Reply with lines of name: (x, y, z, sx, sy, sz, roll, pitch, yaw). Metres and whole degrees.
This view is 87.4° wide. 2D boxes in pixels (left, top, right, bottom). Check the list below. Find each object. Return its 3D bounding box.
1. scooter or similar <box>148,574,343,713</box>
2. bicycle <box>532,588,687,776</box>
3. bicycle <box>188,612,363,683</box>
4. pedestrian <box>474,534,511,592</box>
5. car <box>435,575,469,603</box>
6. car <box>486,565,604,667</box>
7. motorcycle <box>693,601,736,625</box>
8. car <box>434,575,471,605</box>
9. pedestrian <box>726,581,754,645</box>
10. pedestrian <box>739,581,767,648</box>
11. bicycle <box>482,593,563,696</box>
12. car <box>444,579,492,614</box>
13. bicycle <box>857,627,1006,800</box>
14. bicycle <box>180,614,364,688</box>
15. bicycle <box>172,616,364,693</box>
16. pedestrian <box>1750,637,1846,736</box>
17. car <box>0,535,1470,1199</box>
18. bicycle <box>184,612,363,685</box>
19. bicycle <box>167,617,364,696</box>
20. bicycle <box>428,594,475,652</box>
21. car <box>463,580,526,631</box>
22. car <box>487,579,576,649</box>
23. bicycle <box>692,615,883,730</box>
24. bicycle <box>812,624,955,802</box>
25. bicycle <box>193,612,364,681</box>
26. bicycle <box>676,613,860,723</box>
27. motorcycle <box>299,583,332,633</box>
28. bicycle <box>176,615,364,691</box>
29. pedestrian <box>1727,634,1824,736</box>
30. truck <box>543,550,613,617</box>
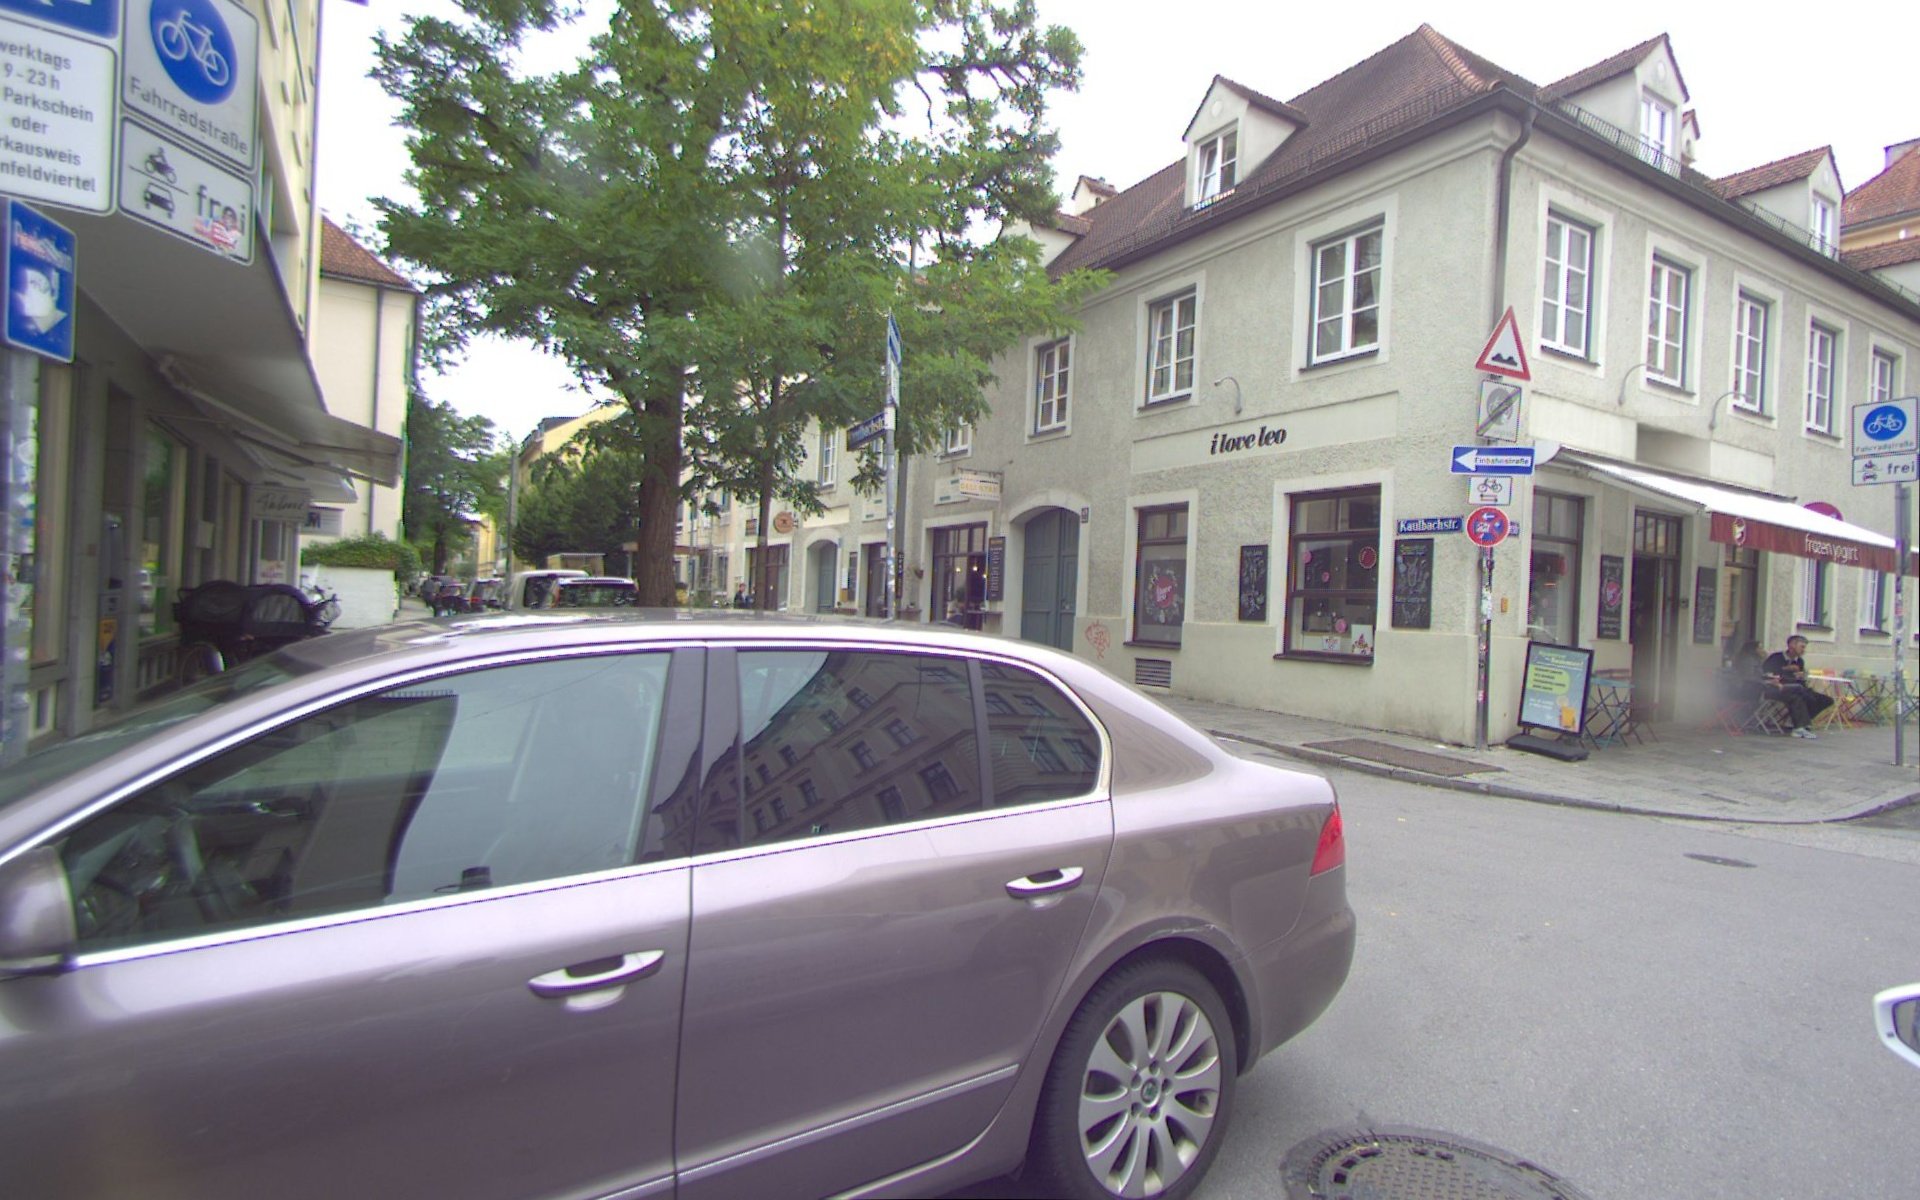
scooter or similar: (-6.959, 0.408, 9.820, 1.180, 1.217, 1.000, 3, -1, 20)
bicycle: (-3.009, 0.573, 8.383, 0.807, 1.227, 2.832, 4, 1, -26)
bicycle: (-8.258, 0.585, 12.197, 1.704, 0.790, 0.290, 4, -1, -32)
pedestrian: (-13.378, -1.050, 28.756, 0.563, 1.602, 0.681, 3, -1, 22)
car: (-31.192, -0.694, 61.664, 1.752, 1.617, 4.138, -1, 1, -27)
car: (-8.696, 0.253, 20.837, 1.882, 1.870, 4.430, -1, 1, -27)
motorcycle: (-9.960, 0.544, 40.848, 1.619, 0.885, 0.410, 4, -1, -32)
car: (-28.257, -0.579, 55.913, 1.752, 1.617, 4.138, -1, 1, -27)
pedestrian: (-6.138, 0.352, 28.062, 0.525, 1.752, 0.552, 4, -1, -32)
pedestrian: (-5.668, 0.394, 27.449, 0.525, 1.810, 0.487, 4, -1, -32)
bicycle: (-5.851, 0.566, 13.364, 0.807, 1.227, 2.358, 4, -2, -26)
car: (-23.935, -0.210, 48.824, 1.971, 1.617, 4.138, -1, 1, -27)
bicycle: (-0.274, 0.793, 7.695, 0.387, 1.049, 1.811, 1, 2, -26)
bicycle: (-7.952, 0.601, 11.684, 1.704, 0.790, 0.290, 4, -1, -32)
bicycle: (-7.636, 0.622, 11.169, 1.704, 0.790, 0.290, 4, -1, -32)
pedestrian: (11.703, 1.195, 14.037, 0.685, 1.307, 0.799, 4, -1, -29)
car: (-0.966, 0.695, 2.409, 4.897, 1.491, 1.669, 2, -1, -33)
bicycle: (-8.109, 0.589, 11.943, 1.704, 0.790, 0.290, 4, -1, -32)
bicycle: (-7.488, 0.630, 10.912, 1.704, 0.790, 0.290, 4, -1, -32)
bicycle: (-11.002, 0.468, 21.756, 0.807, 1.117, 2.358, 4, -1, -26)
car: (-15.846, 0.146, 34.101, 1.752, 1.617, 4.138, -1, 1, -27)
car: (-10.906, 0.285, 25.429, 1.752, 1.617, 4.138, -1, 1, -27)
bicycle: (-1.574, 0.681, 9.338, 1.698, 0.978, 0.377, 4, 1, -34)
bicycle: (-0.626, 0.769, 7.509, 0.387, 1.049, 1.811, 1, 2, -26)
bicycle: (-8.408, 0.587, 12.458, 1.704, 0.790, 0.290, 4, -1, -32)
bicycle: (-1.836, 0.672, 9.754, 1.698, 0.978, 0.377, 4, 1, -34)
motorcycle: (-15.297, 0.171, 23.865, 0.456, 1.099, 1.832, 4, 1, -28)
bicycle: (-7.797, 0.614, 11.427, 1.704, 0.790, 0.290, 4, -1, -32)
pedestrian: (11.092, 1.143, 13.667, 0.685, 1.307, 0.799, 4, -1, -29)
truck: (-20.535, -0.837, 53.732, 2.549, 3.236, 6.689, 4, -1, -28)
